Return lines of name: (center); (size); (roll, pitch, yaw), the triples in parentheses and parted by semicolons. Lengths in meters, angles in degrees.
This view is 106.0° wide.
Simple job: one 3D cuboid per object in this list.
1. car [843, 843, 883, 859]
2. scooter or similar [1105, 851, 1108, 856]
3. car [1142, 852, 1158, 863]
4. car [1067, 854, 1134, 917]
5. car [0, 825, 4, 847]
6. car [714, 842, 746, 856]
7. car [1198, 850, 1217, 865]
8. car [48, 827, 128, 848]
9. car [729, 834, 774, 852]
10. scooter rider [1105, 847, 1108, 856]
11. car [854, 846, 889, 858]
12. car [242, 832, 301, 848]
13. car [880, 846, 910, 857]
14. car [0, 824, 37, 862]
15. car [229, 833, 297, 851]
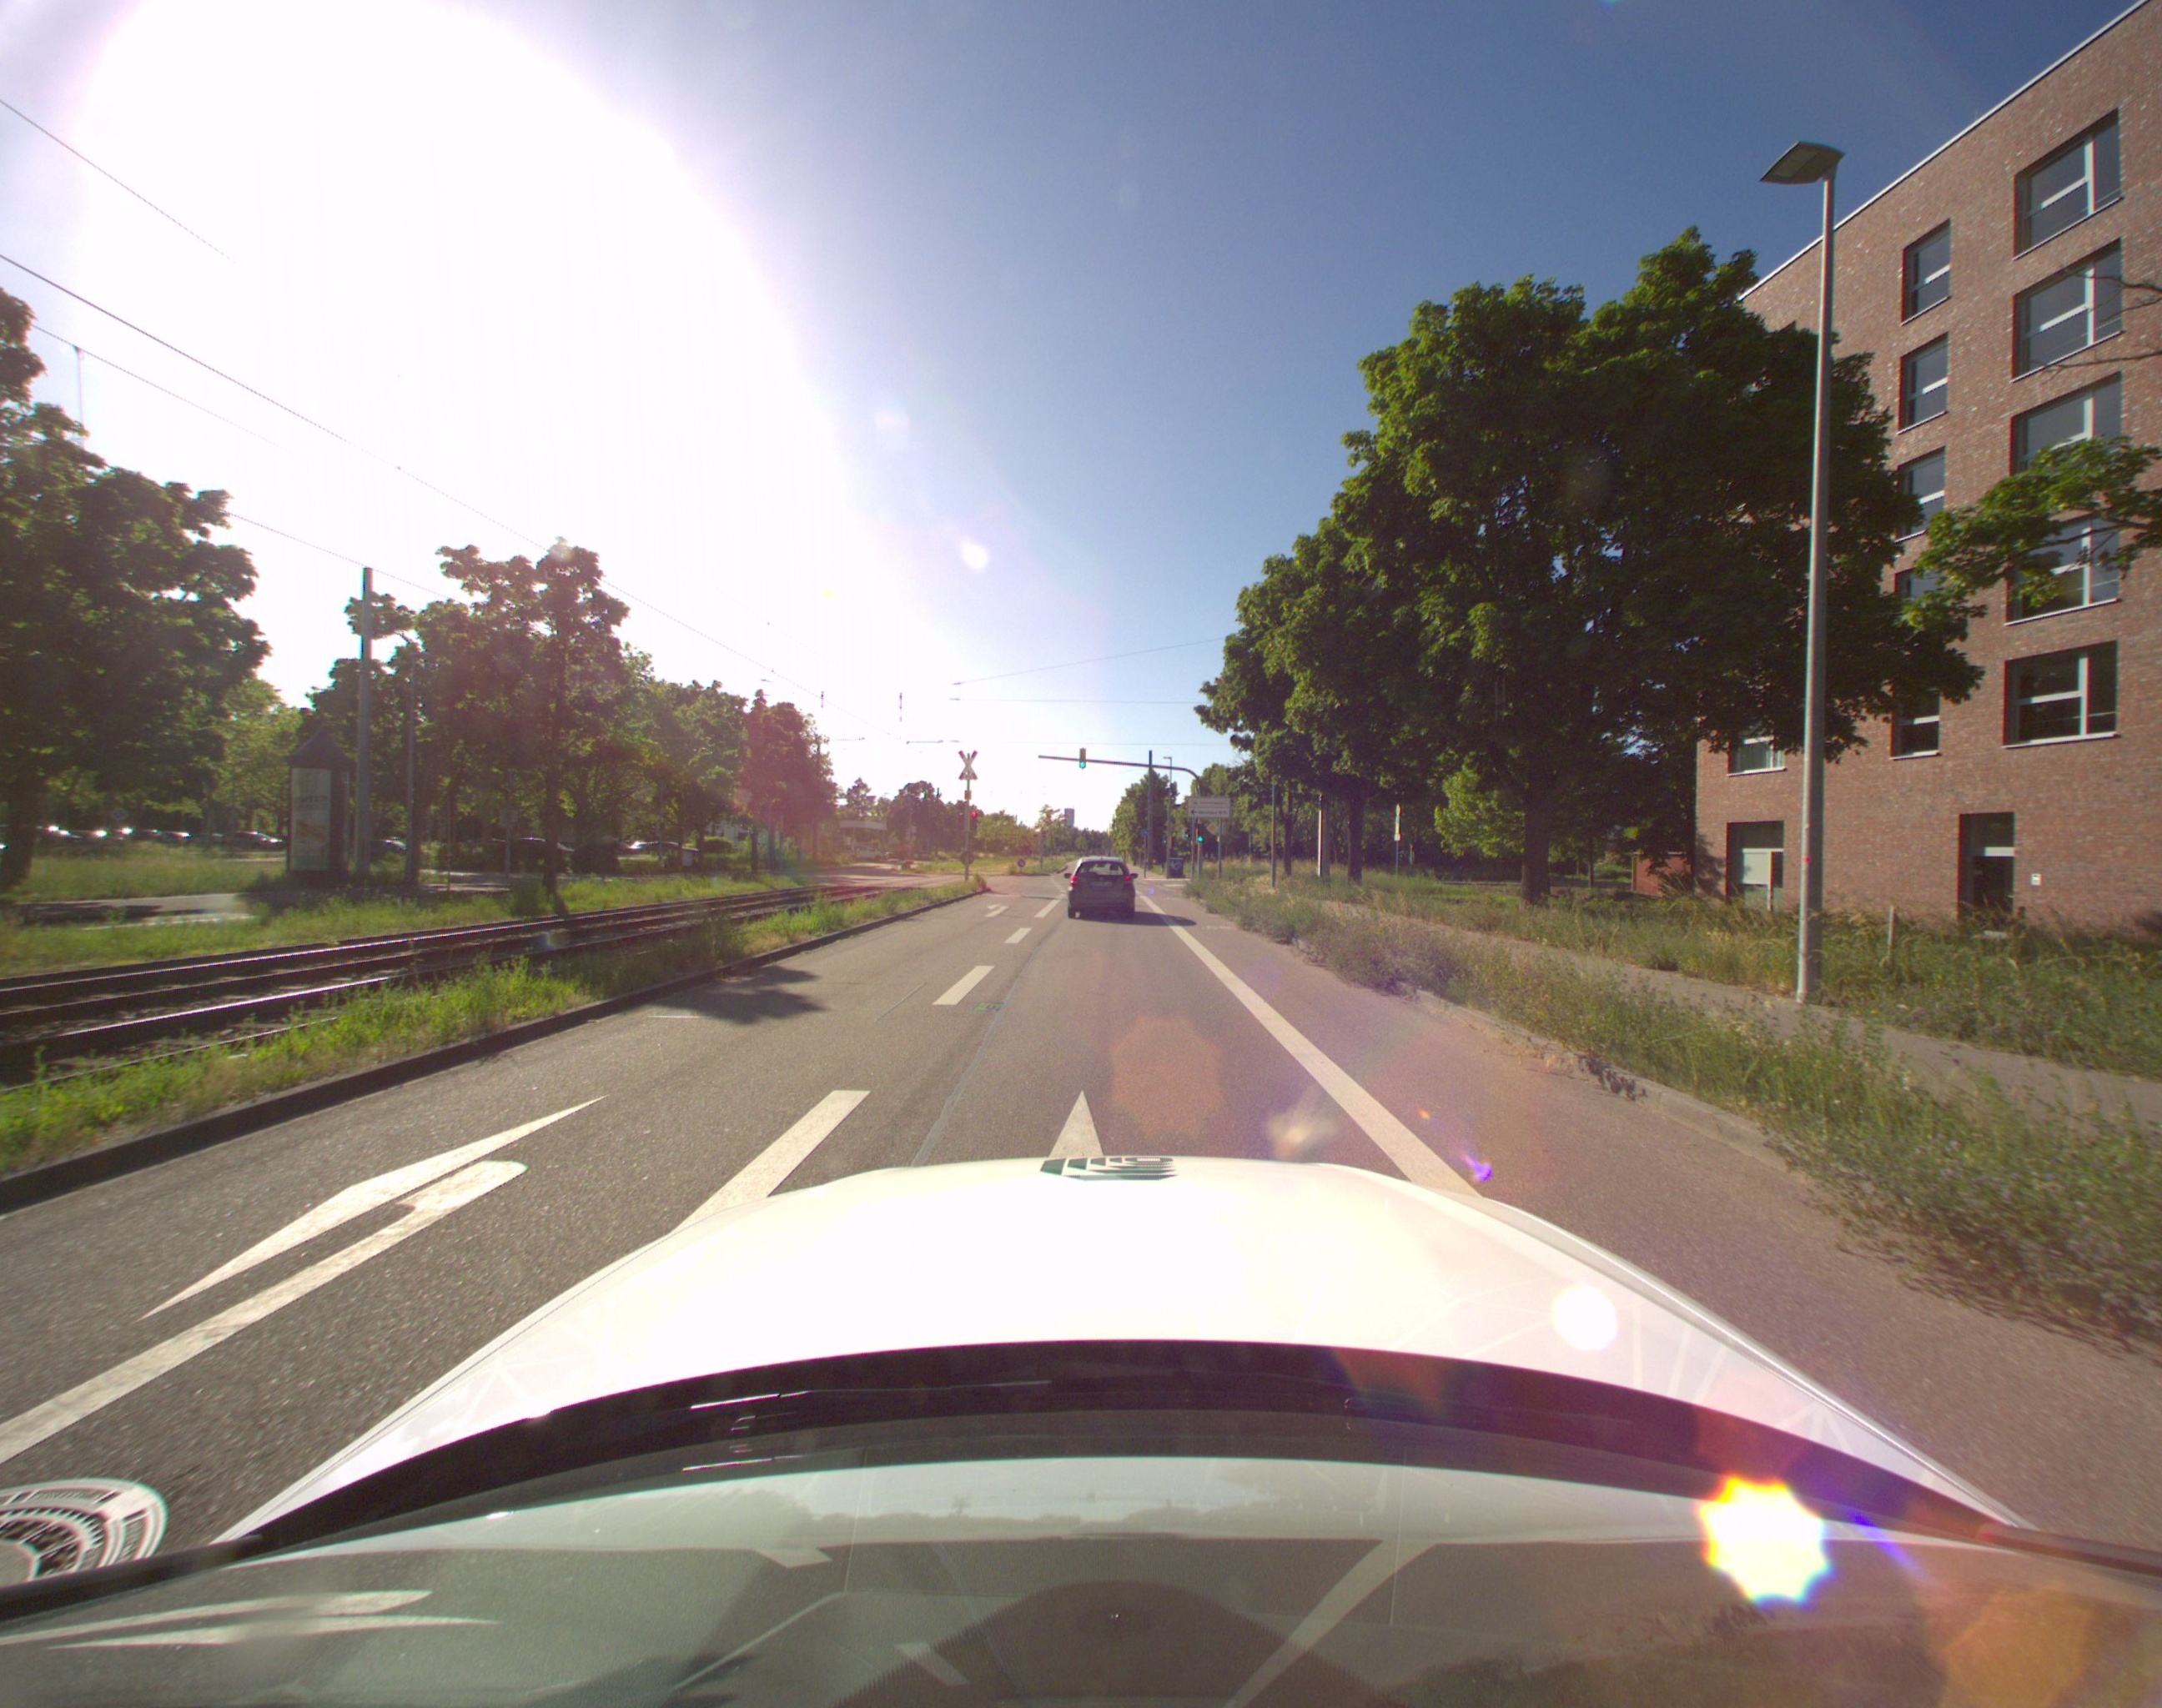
car: (-28.204, -0.418, 105.423); (1.837, 1.974, 4.817); (1, 1, 38)
scooter or similar: (5.481, -0.093, 174.836); (0.538, 1.118, 1.416); (1, 0, -1)
car: (9.667, 0.479, 114.624); (1.770, 1.386, 3.866); (0, 0, -3)
car: (0.516, 0.750, 21.327); (1.618, 1.499, 3.458); (0, 0, 2)
car: (-82.888, -1.397, 60.043); (3.984, 1.668, 1.826); (2, 0, -8)
car: (-40.017, -0.593, 92.826); (1.570, 1.544, 4.093); (2, 0, 4)
car: (17.735, 0.509, 114.279); (1.865, 1.966, 5.167); (2, 0, 0)
car: (-82.335, -1.348, 67.570); (3.984, 1.668, 1.826); (2, 0, -8)
car: (-40.746, -1.380, 100.689); (4.707, 2.091, 2.020); (1, 0, -1)
scooter rider: (5.466, -0.497, 174.813); (0.714, 1.901, 0.934); (1, 0, -2)
car: (-28.249, -0.244, 109.965); (1.769, 1.528, 4.499); (1, 1, 38)
car: (-82.343, -1.409, 82.870); (3.958, 1.432, 1.845); (2, 0, -5)
car: (-27.886, -0.320, 122.111); (4.060, 1.568, 1.791); (1, 0, -2)
car: (-49.297, -0.510, 35.364); (4.433, 1.640, 1.976); (1, 0, -21)
car: (-71.274, -1.031, 70.979); (3.958, 1.449, 1.743); (2, 0, -5)
